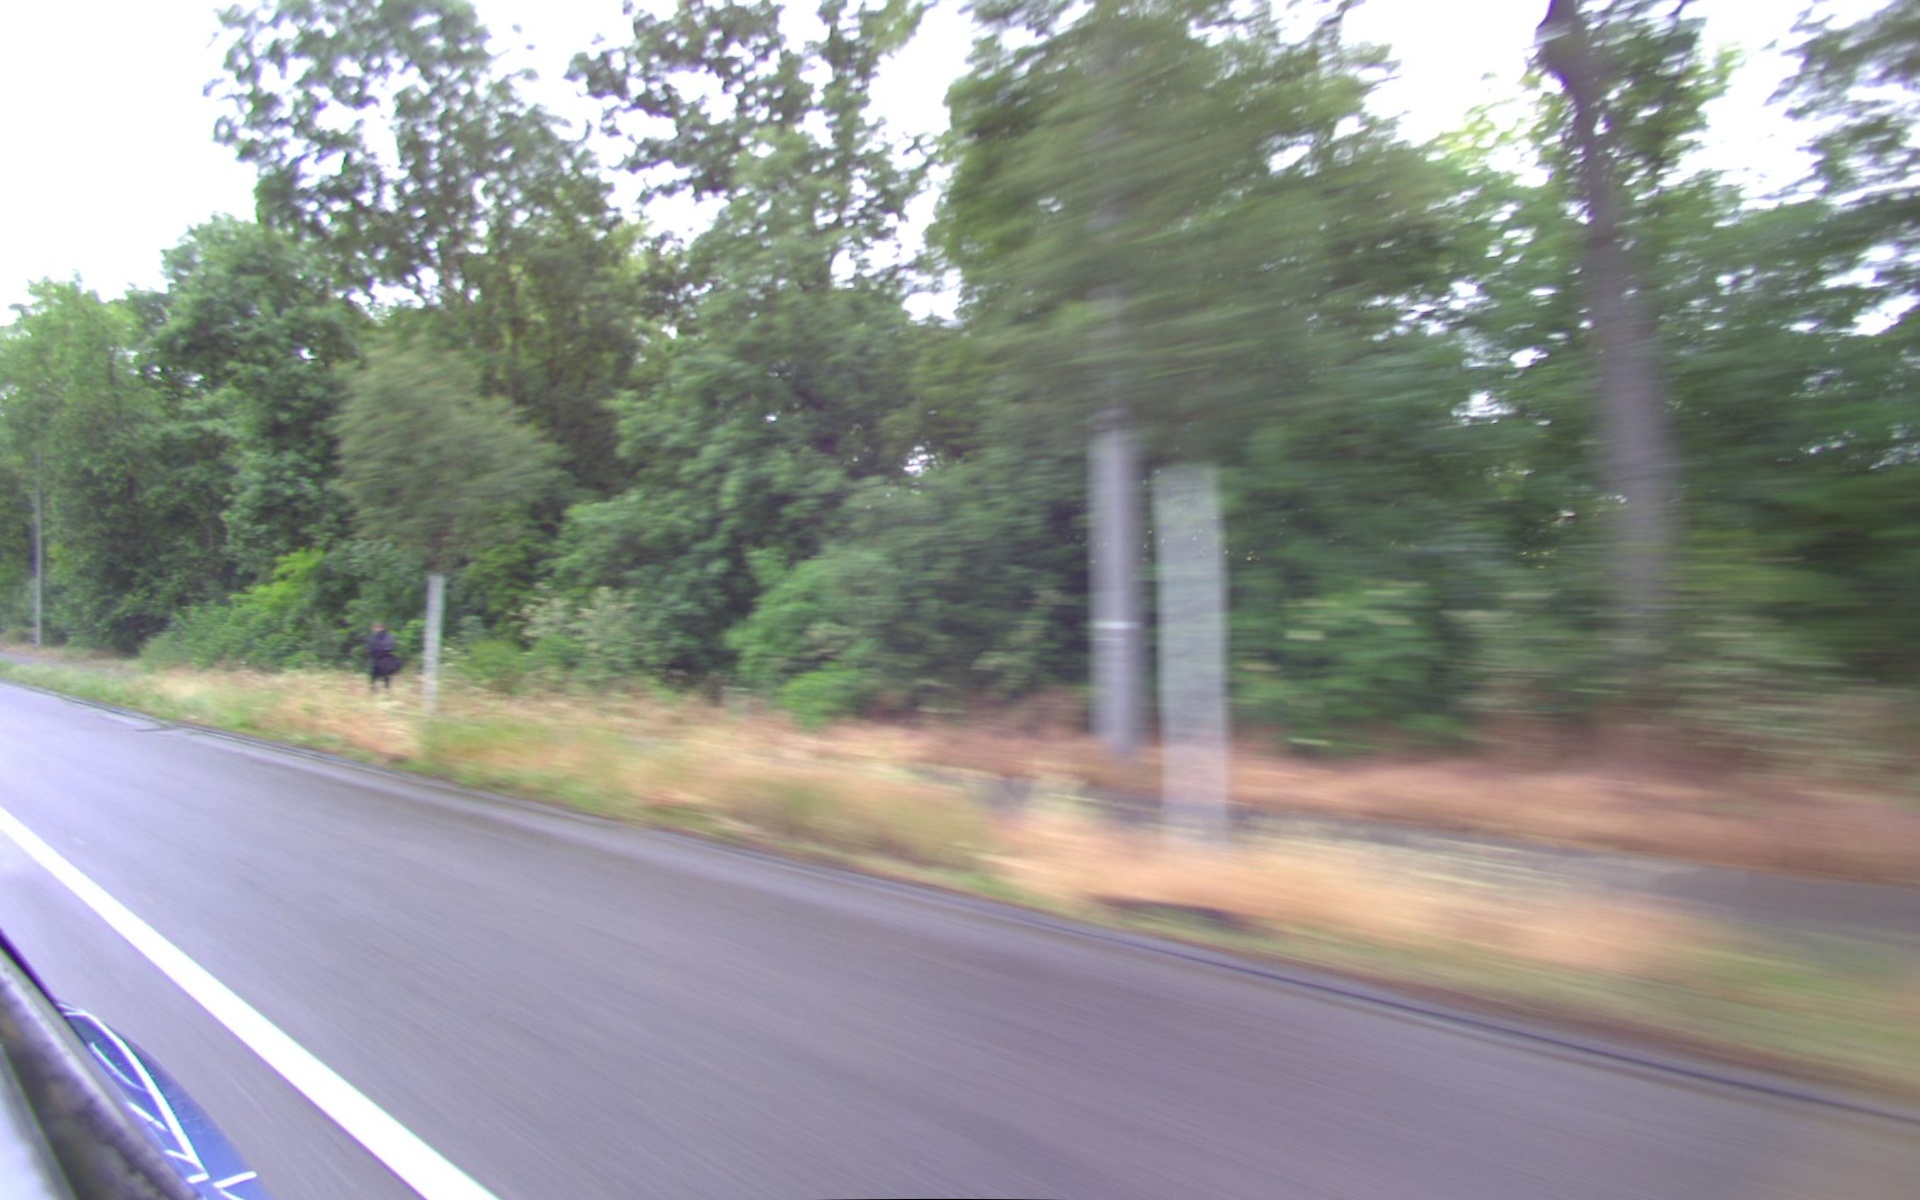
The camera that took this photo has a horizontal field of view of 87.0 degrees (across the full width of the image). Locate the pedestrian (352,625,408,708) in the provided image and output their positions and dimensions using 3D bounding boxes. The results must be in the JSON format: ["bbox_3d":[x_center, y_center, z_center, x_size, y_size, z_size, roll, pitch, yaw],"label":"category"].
[{"bbox_3d":[-11.751,1.326,20.513,0.732,1.620,0.773,-2,-2,39],"label":"pedestrian"}]
